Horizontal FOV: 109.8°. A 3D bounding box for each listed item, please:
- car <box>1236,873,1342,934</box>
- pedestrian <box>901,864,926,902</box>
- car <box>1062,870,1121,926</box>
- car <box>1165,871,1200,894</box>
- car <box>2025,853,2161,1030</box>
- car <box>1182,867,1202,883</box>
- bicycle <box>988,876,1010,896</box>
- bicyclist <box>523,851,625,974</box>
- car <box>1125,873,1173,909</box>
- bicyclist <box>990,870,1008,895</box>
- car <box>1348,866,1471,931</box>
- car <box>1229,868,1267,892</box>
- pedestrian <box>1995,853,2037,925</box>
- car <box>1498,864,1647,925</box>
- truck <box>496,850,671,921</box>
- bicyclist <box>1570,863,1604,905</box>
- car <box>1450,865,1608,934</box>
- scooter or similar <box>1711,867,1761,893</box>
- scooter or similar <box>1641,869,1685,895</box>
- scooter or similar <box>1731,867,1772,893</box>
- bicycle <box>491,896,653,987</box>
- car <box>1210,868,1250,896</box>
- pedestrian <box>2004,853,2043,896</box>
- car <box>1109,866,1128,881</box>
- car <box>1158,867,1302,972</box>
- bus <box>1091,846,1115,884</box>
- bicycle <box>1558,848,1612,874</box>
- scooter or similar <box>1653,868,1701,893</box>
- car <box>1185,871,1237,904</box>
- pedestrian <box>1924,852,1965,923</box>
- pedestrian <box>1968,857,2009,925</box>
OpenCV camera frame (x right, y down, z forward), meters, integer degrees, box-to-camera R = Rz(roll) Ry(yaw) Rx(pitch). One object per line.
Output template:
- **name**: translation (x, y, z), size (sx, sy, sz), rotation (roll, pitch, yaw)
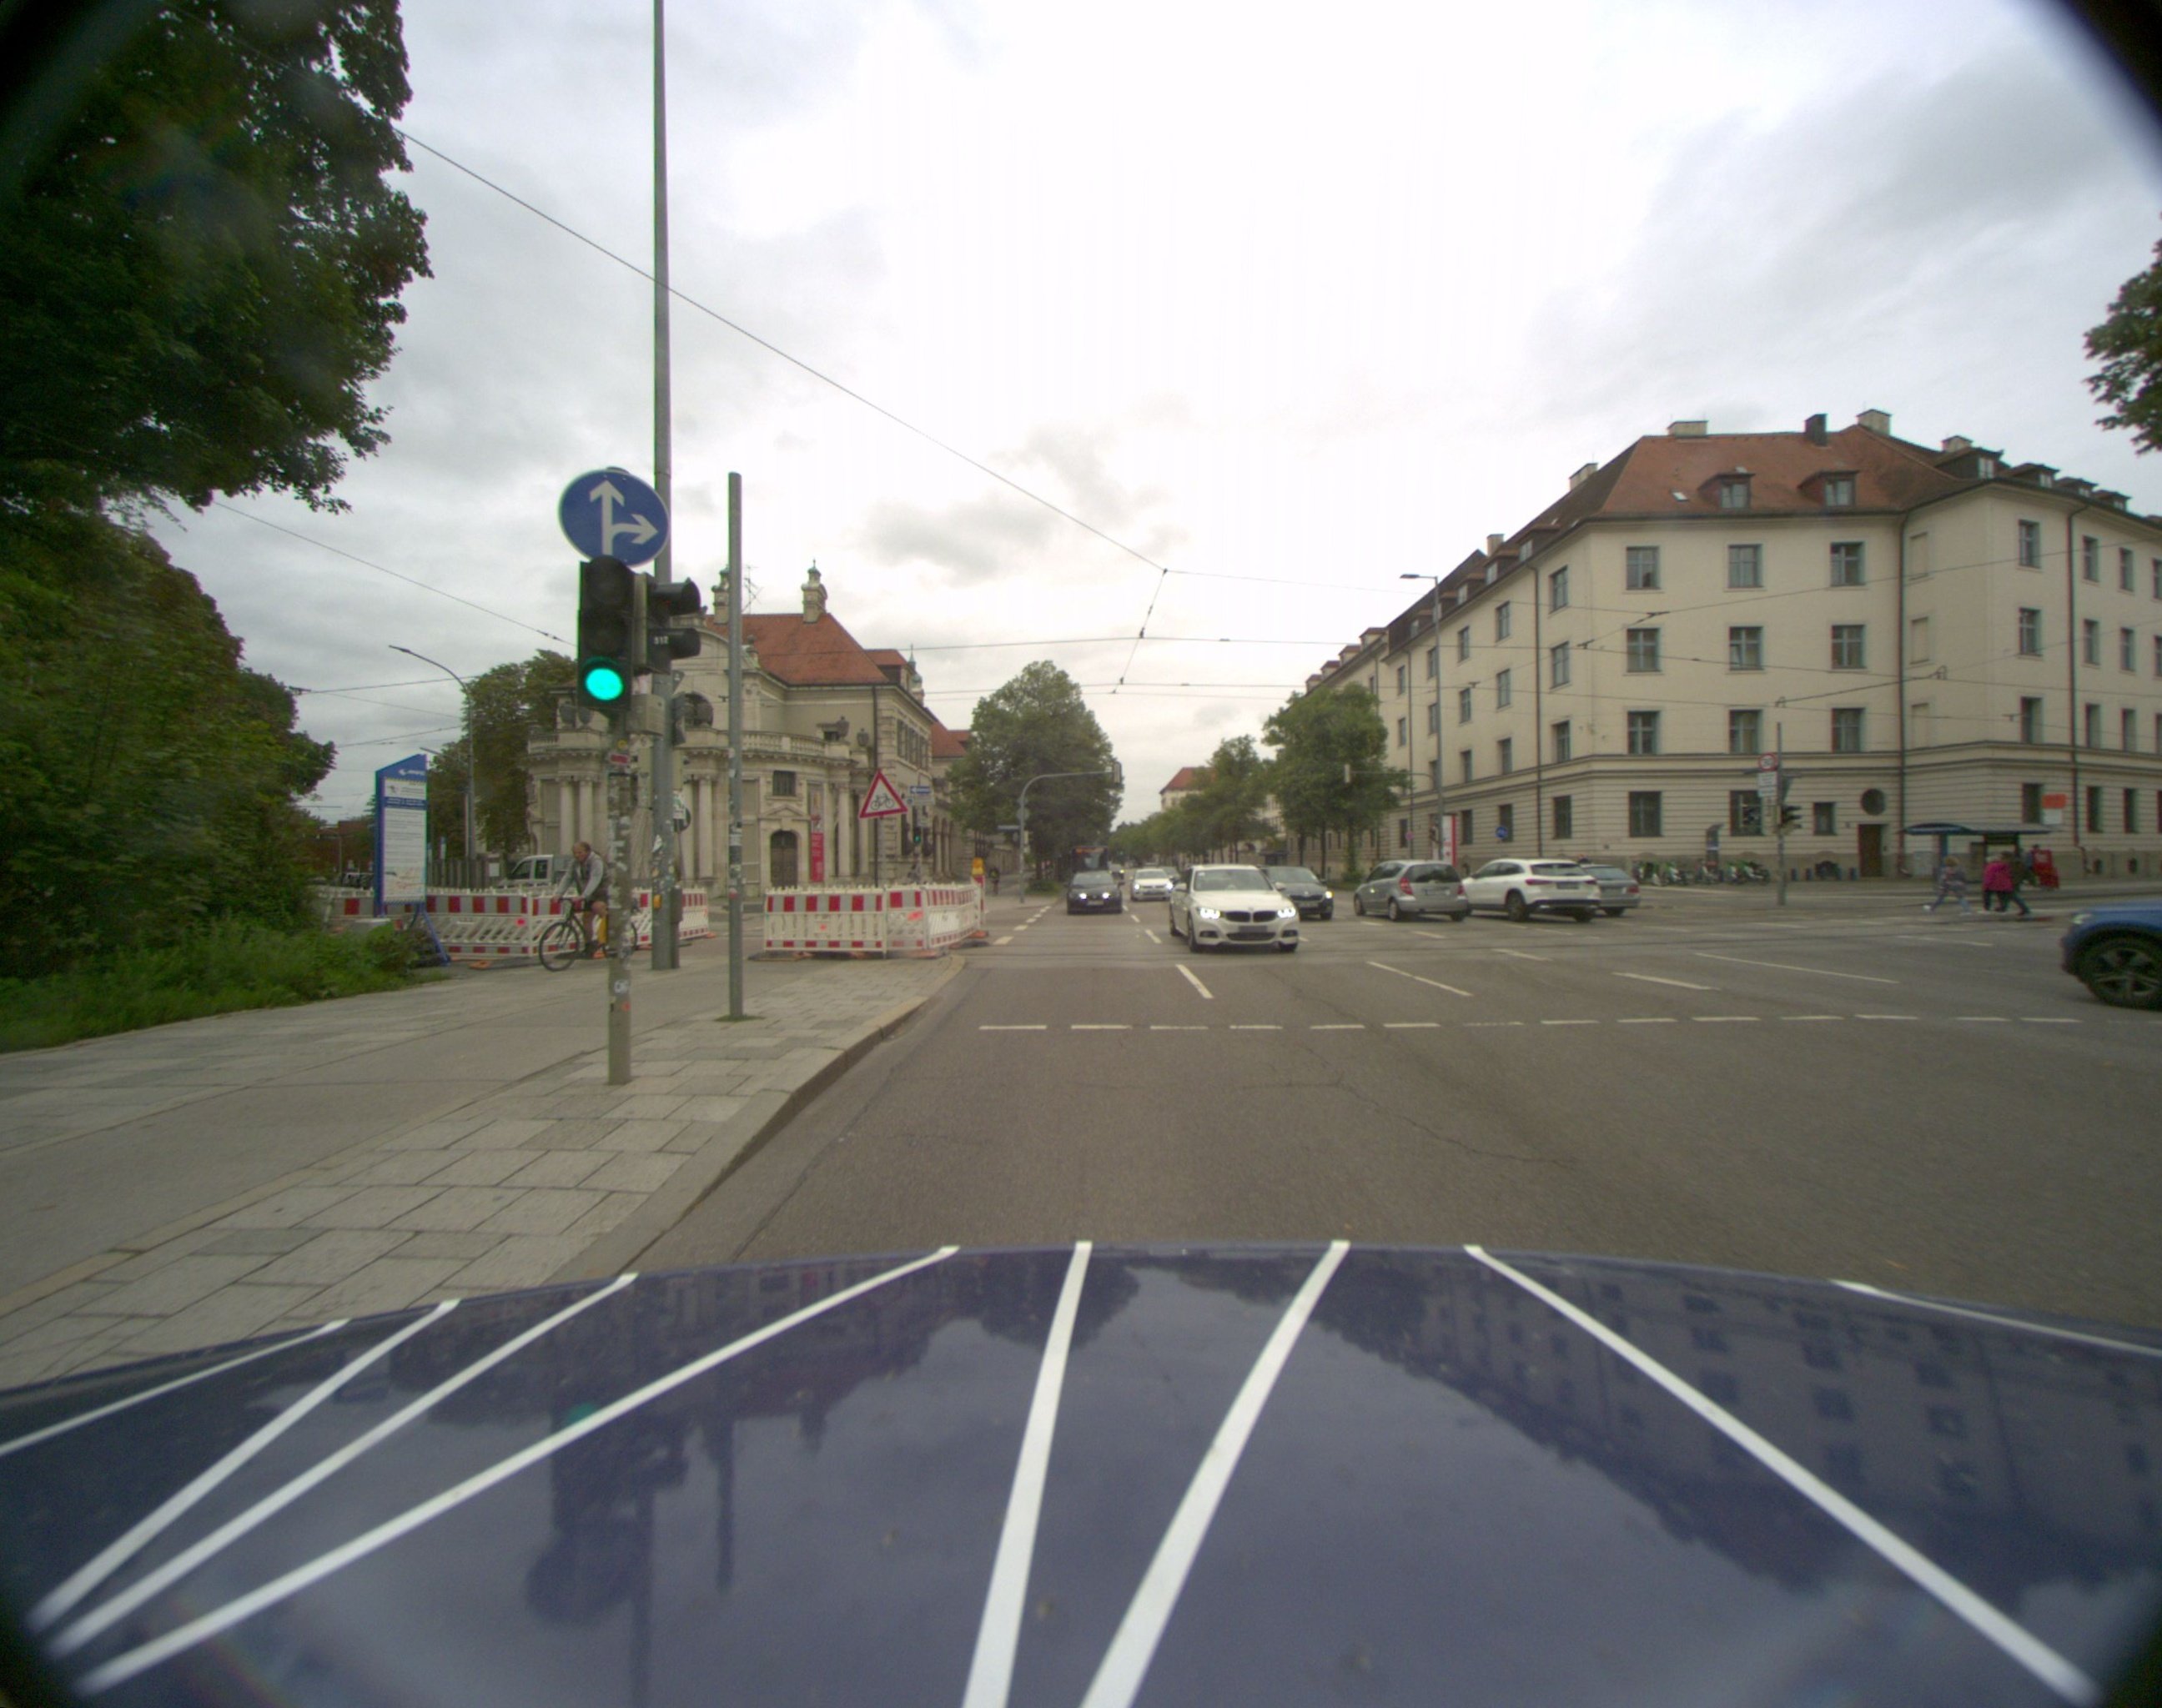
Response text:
- **car**: translation (5.688, 1.312, 21.335), size (1.797, 1.439, 4.275), rotation (-1, 0, 0)
- **pedestrian**: translation (-7.896, 1.375, 35.935), size (1.068, 1.754, 0.774), rotation (-2, 0, -11)
- **car**: translation (0.338, 1.404, 25.628), size (1.797, 1.627, 4.275), rotation (-1, 0, 0)
- **car**: translation (6.902, 1.895, 52.014), size (1.797, 1.439, 4.275), rotation (-1, 0, 0)
- **car**: translation (10.993, 0.818, 5.943), size (1.844, 1.646, 4.351), rotation (1, 0, 1)
- **car**: translation (12.130, 2.280, 83.395), size (1.683, 1.630, 4.165), rotation (0, -1, 1)
- **bicycle**: translation (-4.312, 1.677, 40.118), size (0.830, 1.001, 2.058), rotation (-2, -1, 1)
- **bicyclist**: translation (-7.173, 0.806, 10.796), size (0.758, 1.657, 0.899), rotation (-2, 0, 4)
- **car**: translation (3.009, 1.649, 34.505), size (1.797, 1.439, 4.275), rotation (-1, 0, 0)
- **bicyclist**: translation (-4.319, 1.495, 40.233), size (0.808, 1.305, 0.894), rotation (-2, 0, 1)
- **car**: translation (8.660, 1.121, 20.423), size (1.638, 1.562, 3.946), rotation (-1, -1, 1)
- **car**: translation (11.558, 1.748, 52.716), size (1.757, 1.521, 4.227), rotation (-1, -1, 1)
- **pedestrian**: translation (24.194, 0.901, 19.671), size (0.502, 1.844, 0.470), rotation (-1, 0, 19)
- **car**: translation (14.092, 1.095, 22.081), size (1.739, 1.567, 4.057), rotation (-1, -1, 1)
- **truck**: translation (-19.199, 1.203, 29.363), size (5.925, 2.479, 2.297), rotation (-2, 0, 16)
- **bicyclist**: translation (19.617, 1.162, 29.475), size (0.661, 1.569, 0.892), rotation (-2, 0, 1)
- **car**: translation (11.426, 1.109, 19.741), size (1.748, 1.586, 4.001), rotation (1, -1, 0)
- **scooter or similar**: translation (30.202, 1.189, 35.077), size (0.690, 1.151, 1.902), rotation (-2, -1, 1)
- **scooter or similar**: translation (26.972, 1.279, 35.249), size (0.690, 1.112, 1.949), rotation (-2, -1, 7)
- **scooter or similar**: translation (31.037, 1.195, 35.195), size (0.546, 1.112, 1.547), rotation (-2, -1, 1)
- **bicycle**: translation (-7.158, 1.192, 10.850), size (0.740, 1.051, 2.164), rotation (-2, -1, 3)
- **car**: translation (8.748, 1.642, 44.852), size (1.638, 1.562, 3.946), rotation (-1, -1, 1)
- **pedestrian**: translation (41.556, 0.903, 33.502), size (0.807, 1.841, 0.660), rotation (-2, 0, 1)
- **car**: translation (3.877, 2.050, 79.651), size (1.797, 1.439, 4.275), rotation (-1, 0, 0)
- **car**: translation (2.632, 1.087, 14.662), size (1.797, 1.627, 5.026), rotation (-1, 0, 0)
- **bus**: translation (1.603, 0.824, 56.334), size (1.638, 2.569, 6.703), rotation (-1, -1, 1)
- **bicycle**: translation (19.612, 0.279, 29.644), size (0.663, 0.982, 2.182), rotation (-2, -1, 1)
- **scooter or similar**: translation (27.800, 1.224, 35.499), size (0.690, 1.112, 1.948), rotation (-2, -1, 1)
- **car**: translation (6.256, 1.584, 36.913), size (1.797, 1.439, 4.275), rotation (-1, 0, 0)
- **pedestrian**: translation (22.590, 0.865, 19.885), size (0.502, 1.844, 0.528), rotation (-1, 0, 19)
- **pedestrian**: translation (23.579, 0.955, 19.751), size (0.502, 1.729, 0.470), rotation (-1, 0, 19)
